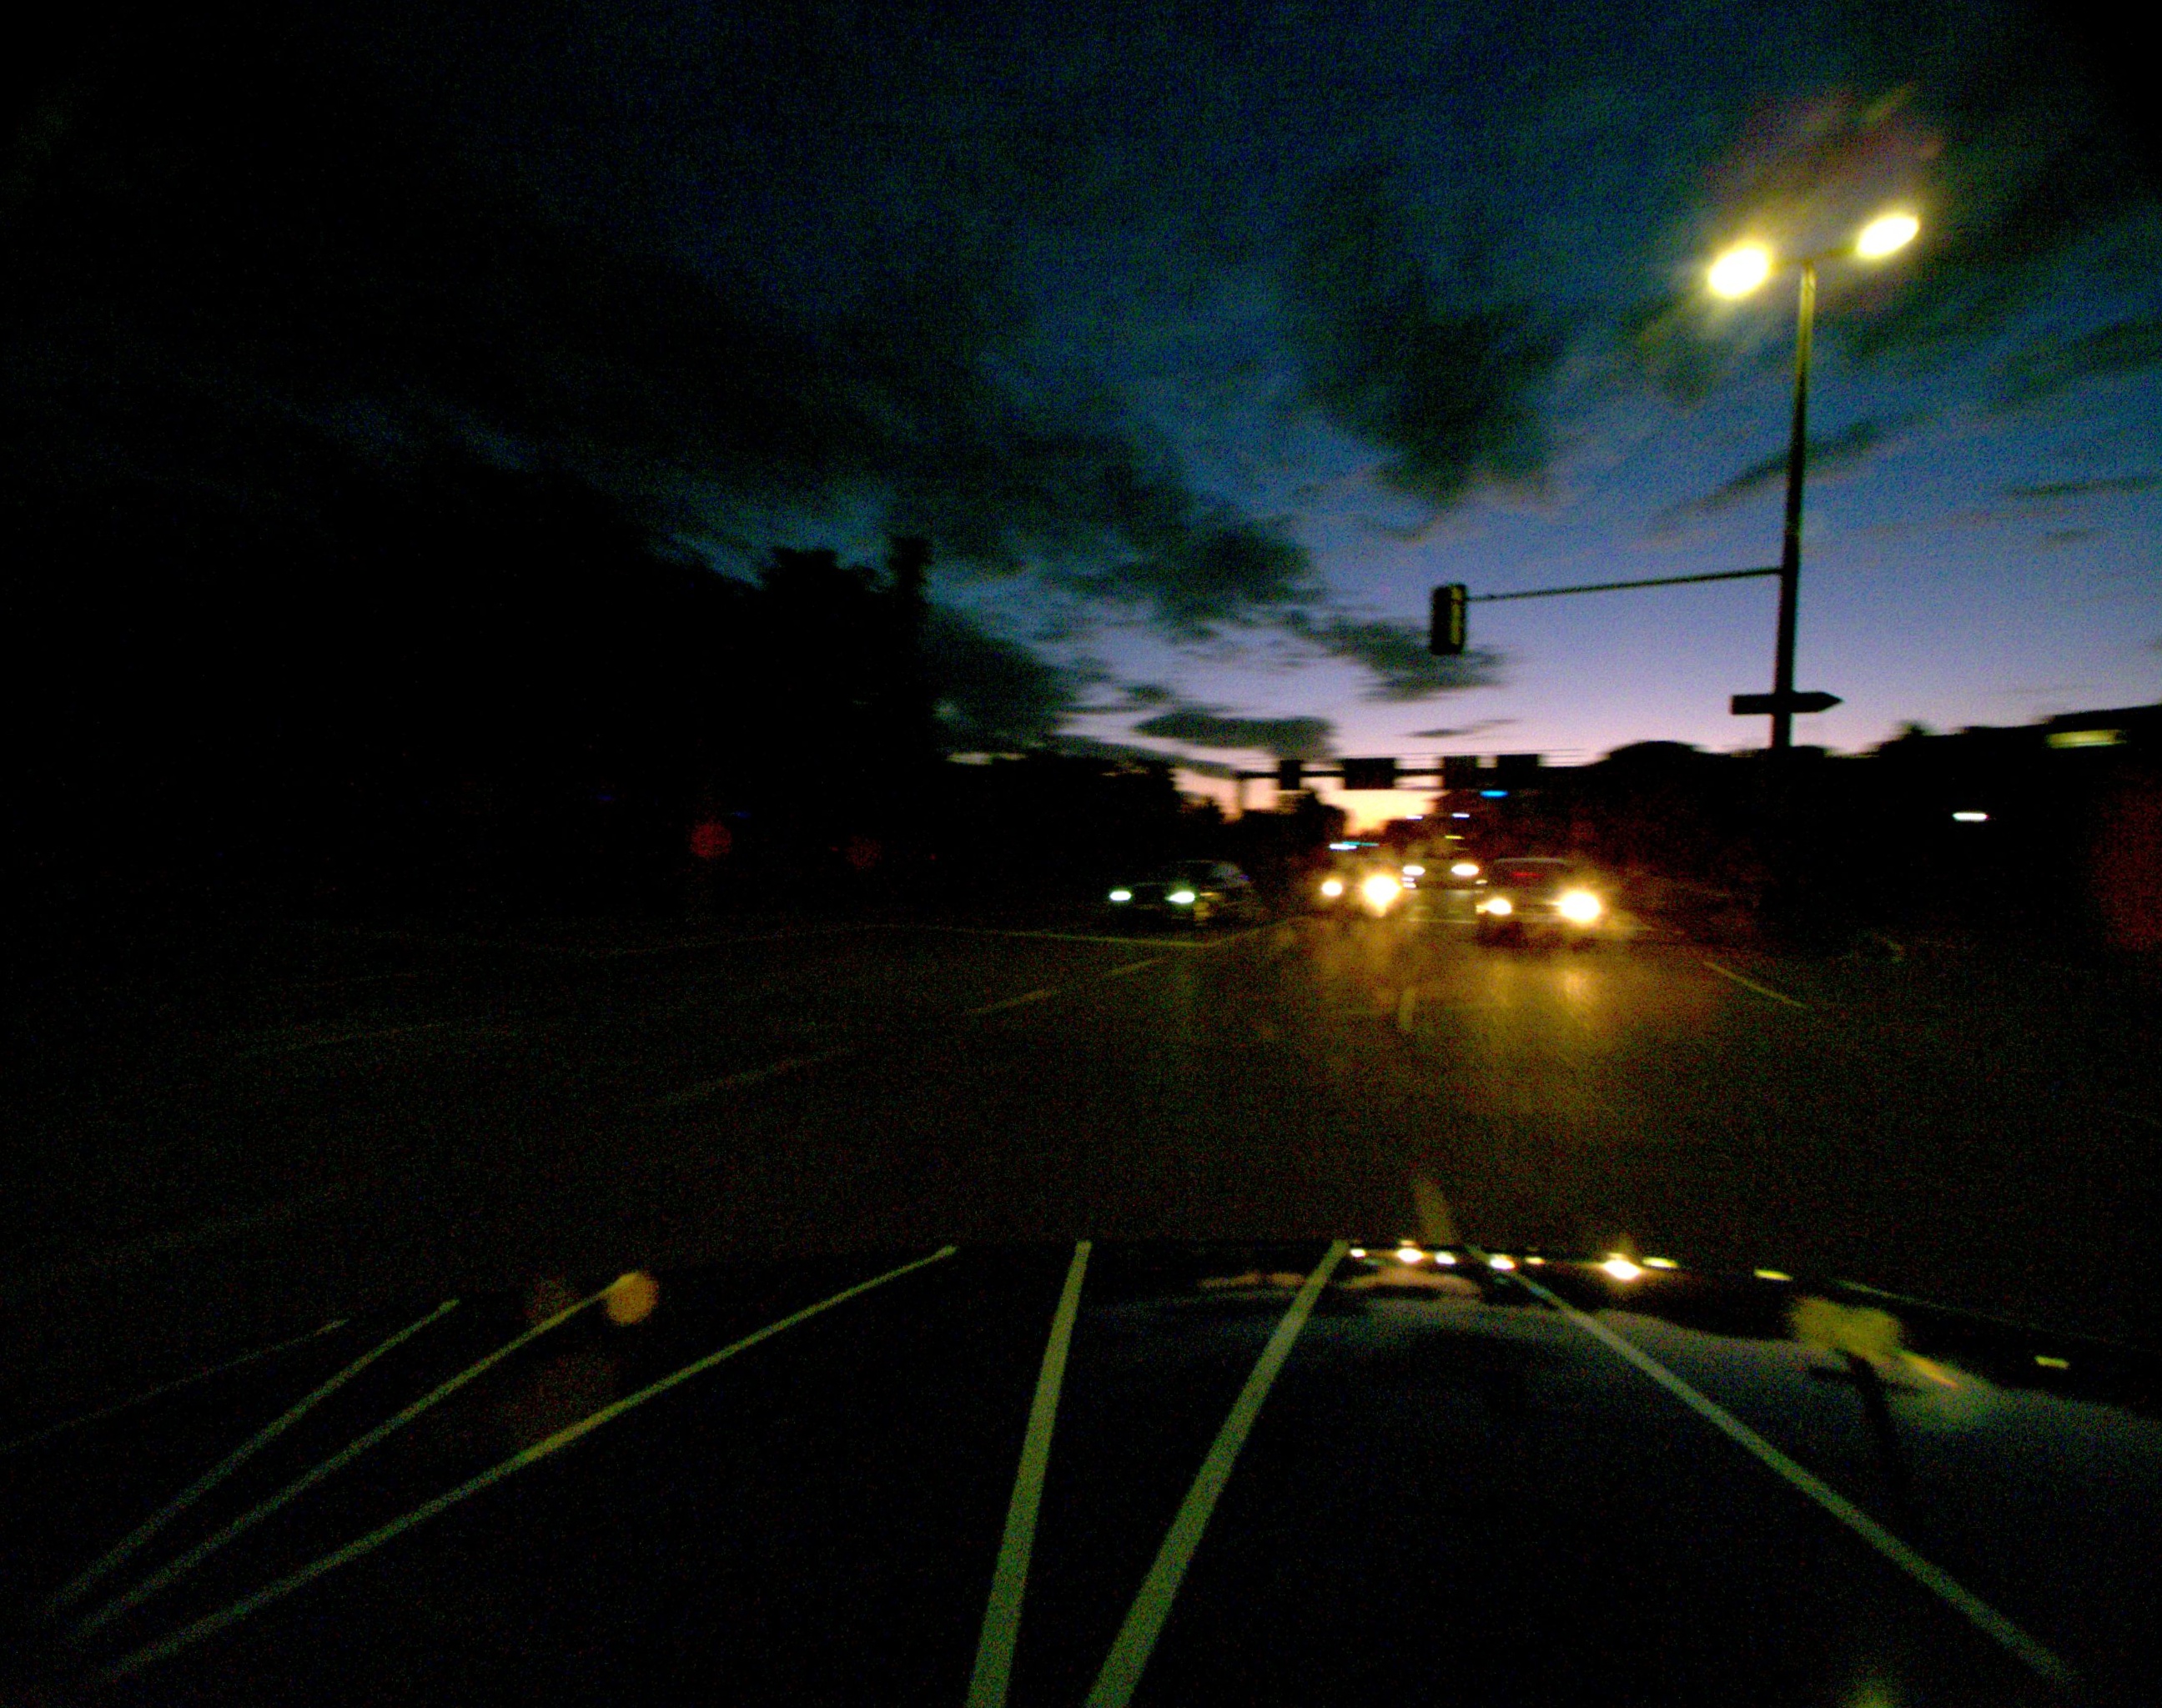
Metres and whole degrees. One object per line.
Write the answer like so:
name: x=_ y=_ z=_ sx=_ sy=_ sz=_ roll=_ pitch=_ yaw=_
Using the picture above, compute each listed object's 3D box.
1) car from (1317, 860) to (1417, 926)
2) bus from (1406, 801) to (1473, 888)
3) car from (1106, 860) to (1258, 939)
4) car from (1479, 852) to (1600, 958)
car: x=7.444 y=0.916 z=19.574 sx=1.666 sy=1.472 sz=3.784 roll=0 pitch=0 yaw=32
bus: x=18.601 y=-0.441 z=38.917 sx=2.609 sy=3.768 sz=12.298 roll=0 pitch=0 yaw=28
car: x=2.425 y=0.902 z=17.134 sx=1.791 sy=1.435 sz=4.542 roll=1 pitch=1 yaw=30
car: x=8.497 y=0.796 z=14.198 sx=1.667 sy=1.643 sz=4.419 roll=-1 pitch=0 yaw=30
